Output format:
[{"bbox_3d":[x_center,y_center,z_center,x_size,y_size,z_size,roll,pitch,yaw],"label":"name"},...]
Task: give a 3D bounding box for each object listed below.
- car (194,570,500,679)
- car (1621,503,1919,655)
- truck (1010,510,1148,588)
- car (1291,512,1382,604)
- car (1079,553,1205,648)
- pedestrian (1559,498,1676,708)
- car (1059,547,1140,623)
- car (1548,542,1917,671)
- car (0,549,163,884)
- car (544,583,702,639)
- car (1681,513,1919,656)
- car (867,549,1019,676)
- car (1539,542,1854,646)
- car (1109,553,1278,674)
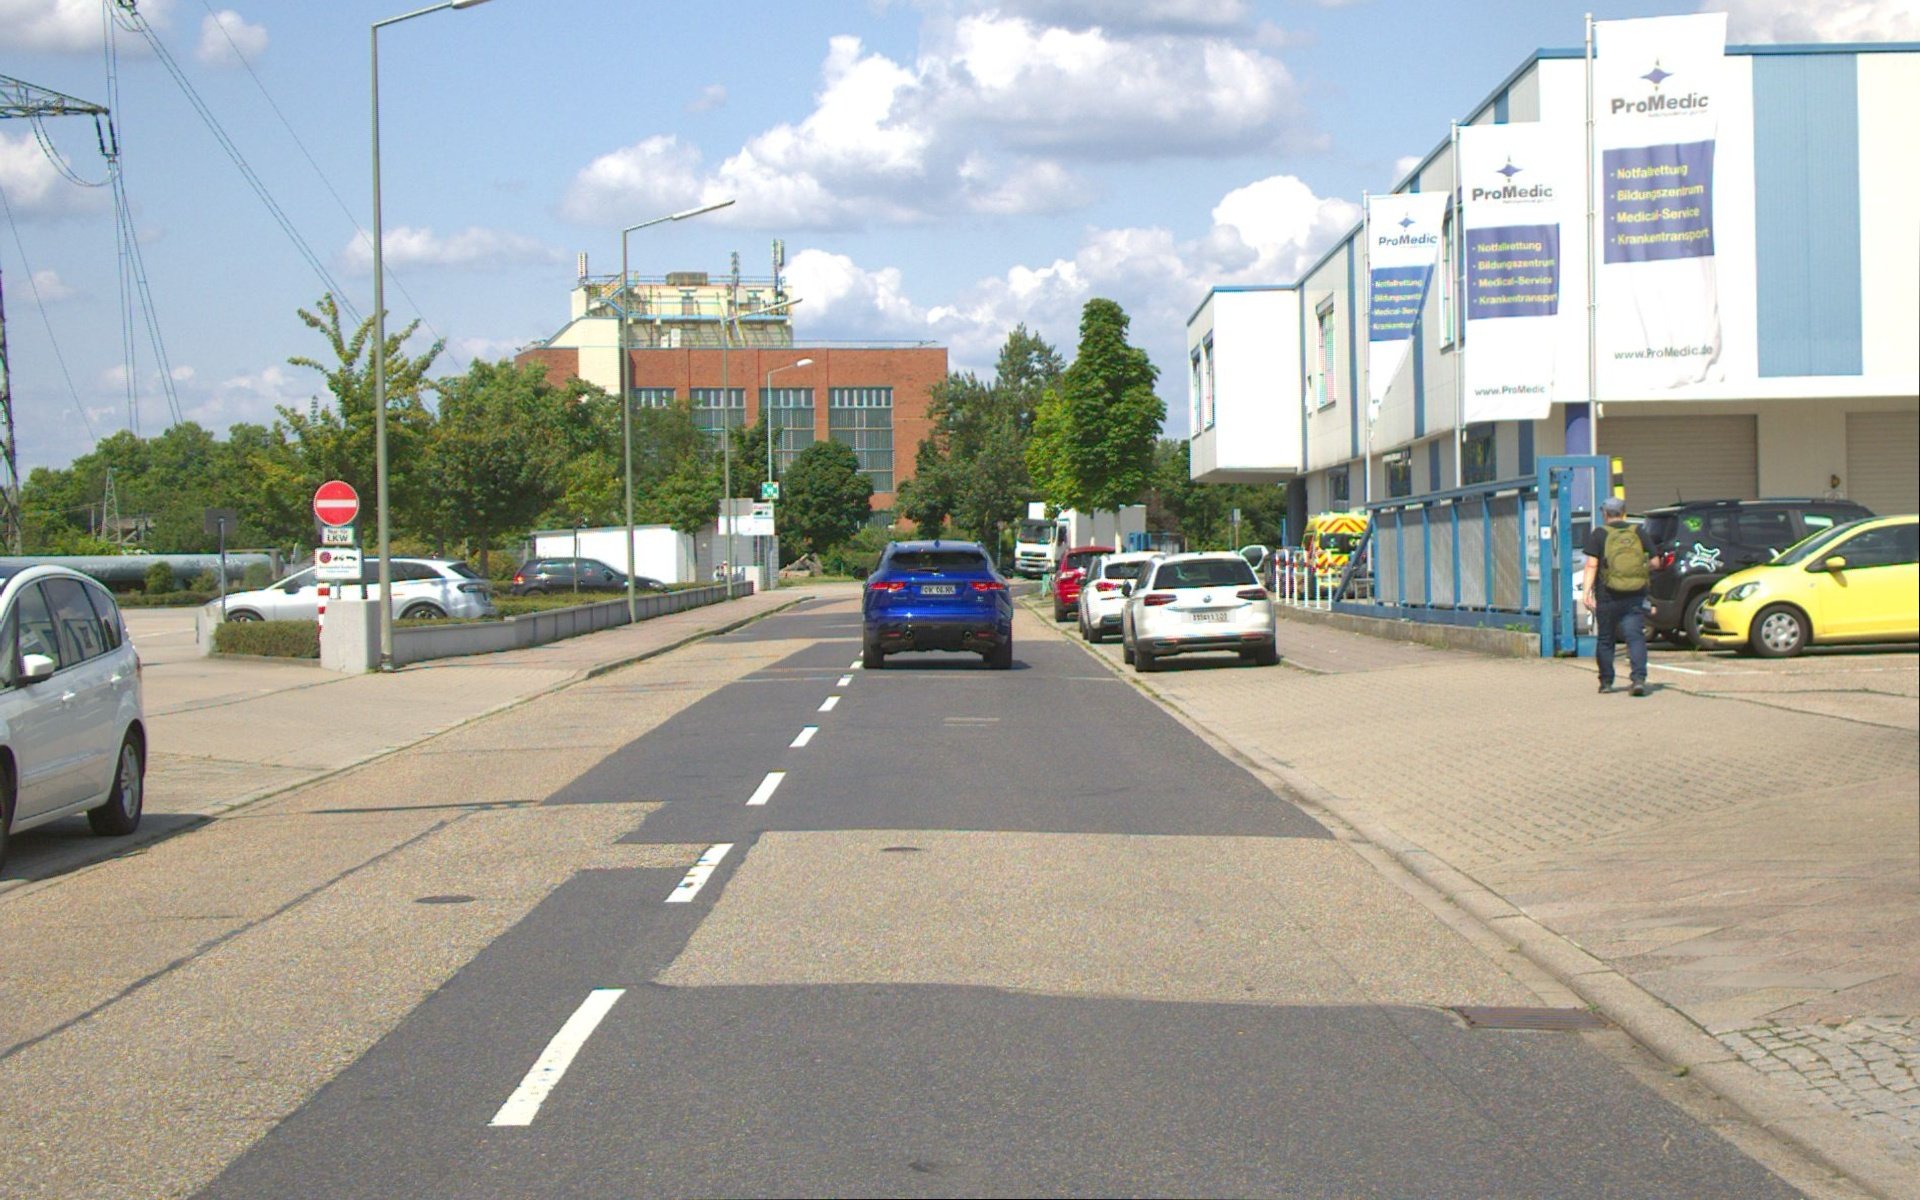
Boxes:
[{"bbox_3d":[-10.153,0.390,57.203,4.754,1.597,2.000,-2,1,-3],"label":"car"},{"bbox_3d":[9.572,-0.239,38.937,3.806,1.674,1.791,0,0,0],"label":"car"},{"bbox_3d":[5.719,-2.467,163.172,2.325,3.555,9.351,1,2,31],"label":"truck"},{"bbox_3d":[10.336,-1.148,94.616,1.924,2.455,5.259,0,0,0],"label":"car"},{"bbox_3d":[3.020,-0.008,57.919,1.835,1.515,4.461,0,0,-1],"label":"car"},{"bbox_3d":[5.671,0.023,29.679,0.769,1.750,0.787,-3,0,-1],"label":"pedestrian"},{"bbox_3d":[3.099,-0.351,77.001,1.755,1.645,4.677,0,0,2],"label":"car"},{"bbox_3d":[9.290,0.058,41.576,3.987,1.415,2.000,-1,1,1],"label":"car"},{"bbox_3d":[-5.828,0.581,18.843,1.867,1.702,4.753,0,0,-1],"label":"car"},{"bbox_3d":[-8.939,0.285,91.327,3.987,1.371,1.804,-1,1,0],"label":"car"},{"bbox_3d":[9.574,-0.170,36.595,3.403,1.485,1.791,0,0,0],"label":"car"},{"bbox_3d":[-0.239,0.139,45.640,1.909,1.588,4.701,0,0,-1],"label":"car"},{"bbox_3d":[10.989,-0.102,51.512,4.279,1.415,2.000,-1,1,1],"label":"car"},{"bbox_3d":[3.021,0.151,45.348,1.867,1.515,4.598,0,0,-1],"label":"car"}]
